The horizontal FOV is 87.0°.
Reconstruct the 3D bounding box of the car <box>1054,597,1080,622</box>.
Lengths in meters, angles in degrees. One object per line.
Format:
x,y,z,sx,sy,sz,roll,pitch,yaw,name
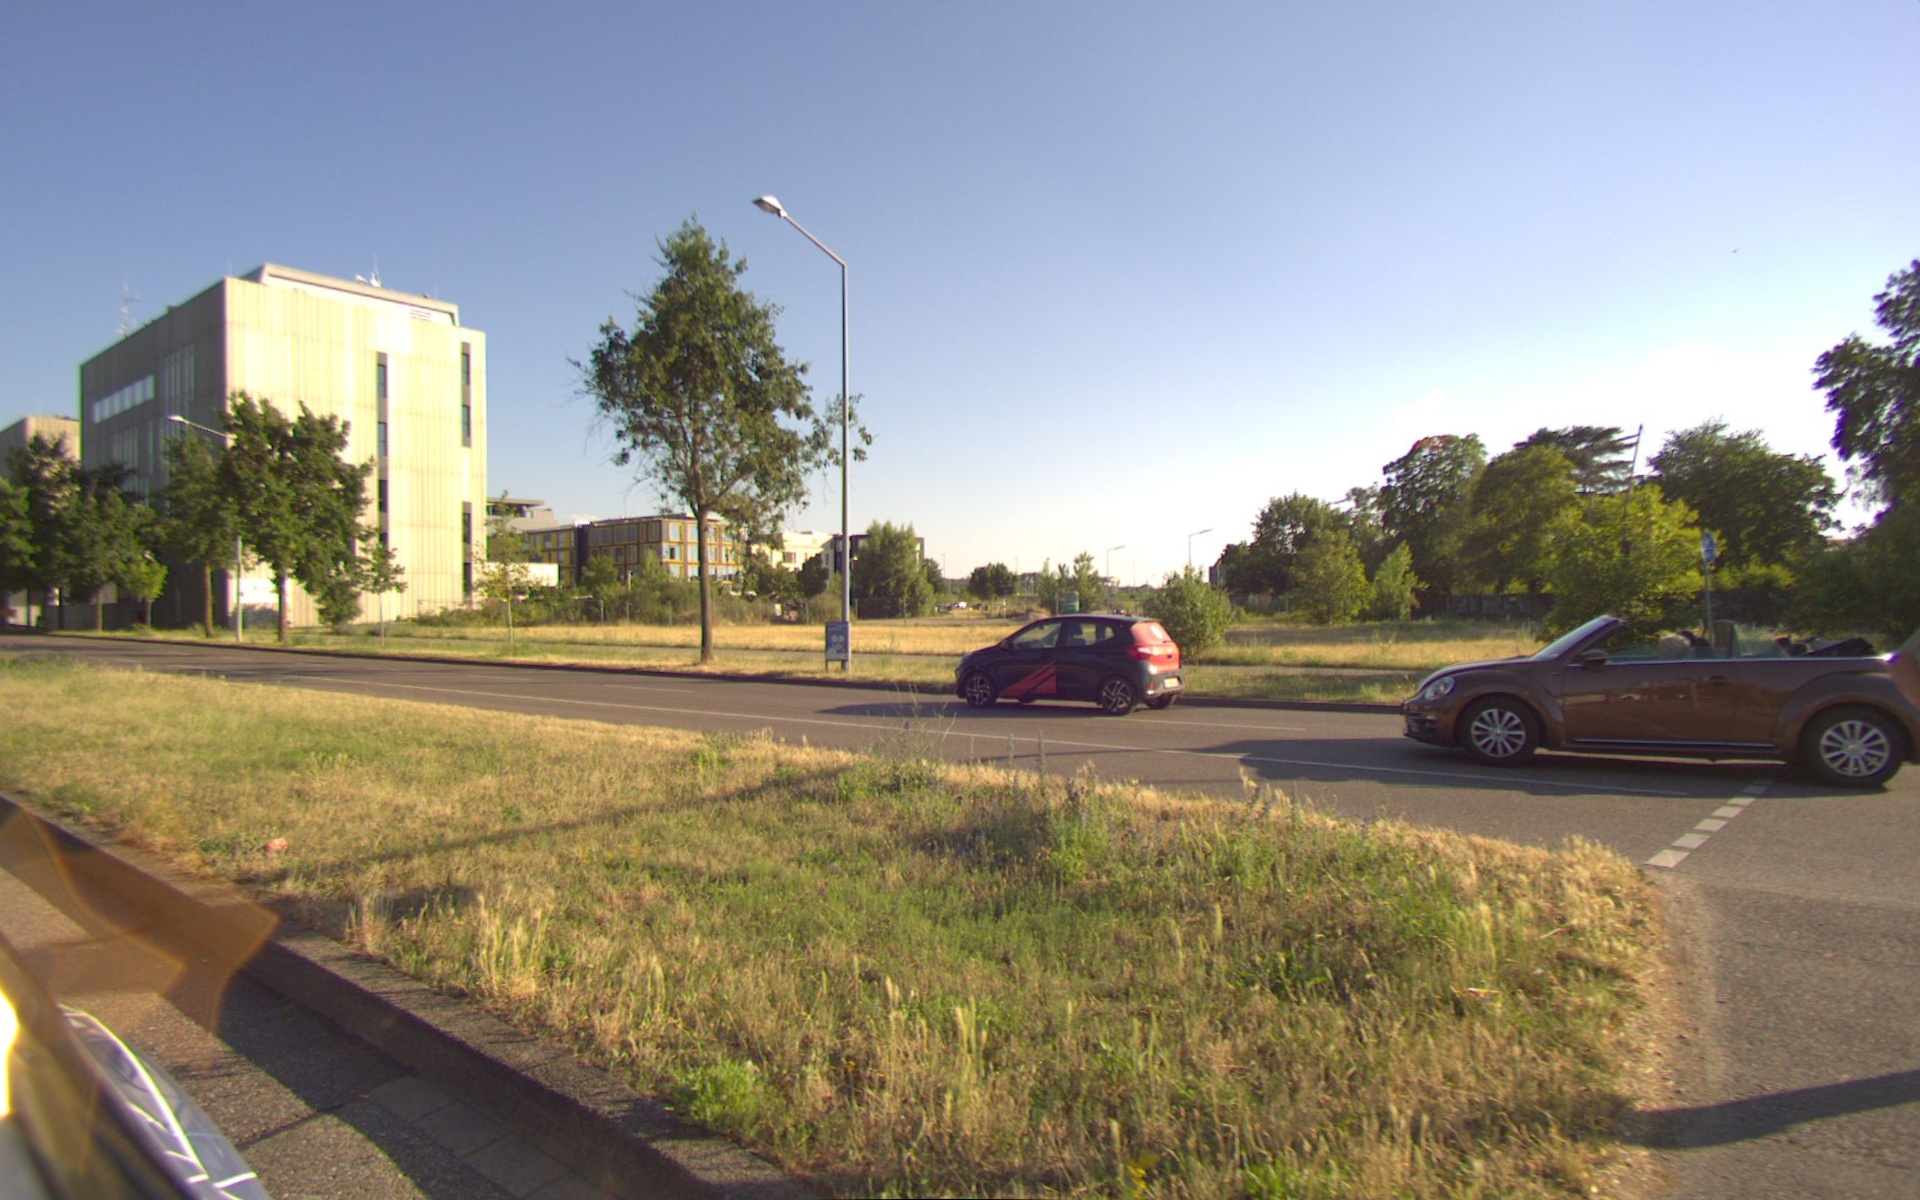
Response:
9.019,0.792,84.818,1.977,2.029,3.870,0,0,9,car

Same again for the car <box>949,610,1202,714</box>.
1.770,0.913,15.856,3.606,1.452,1.653,-1,-2,34,car

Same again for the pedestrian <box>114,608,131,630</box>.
-61.341,1.385,74.109,0.908,1.613,0.768,-1,-1,39,pedestrian

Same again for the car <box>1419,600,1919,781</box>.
6.471,0.735,9.169,4.129,1.386,1.657,-1,-2,28,car

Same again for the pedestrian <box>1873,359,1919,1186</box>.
2.511,0.378,2.117,0.479,1.857,0.721,-3,0,-31,pedestrian

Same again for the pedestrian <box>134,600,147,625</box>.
-60.319,0.898,74.461,0.716,1.855,0.626,-1,-1,39,pedestrian
